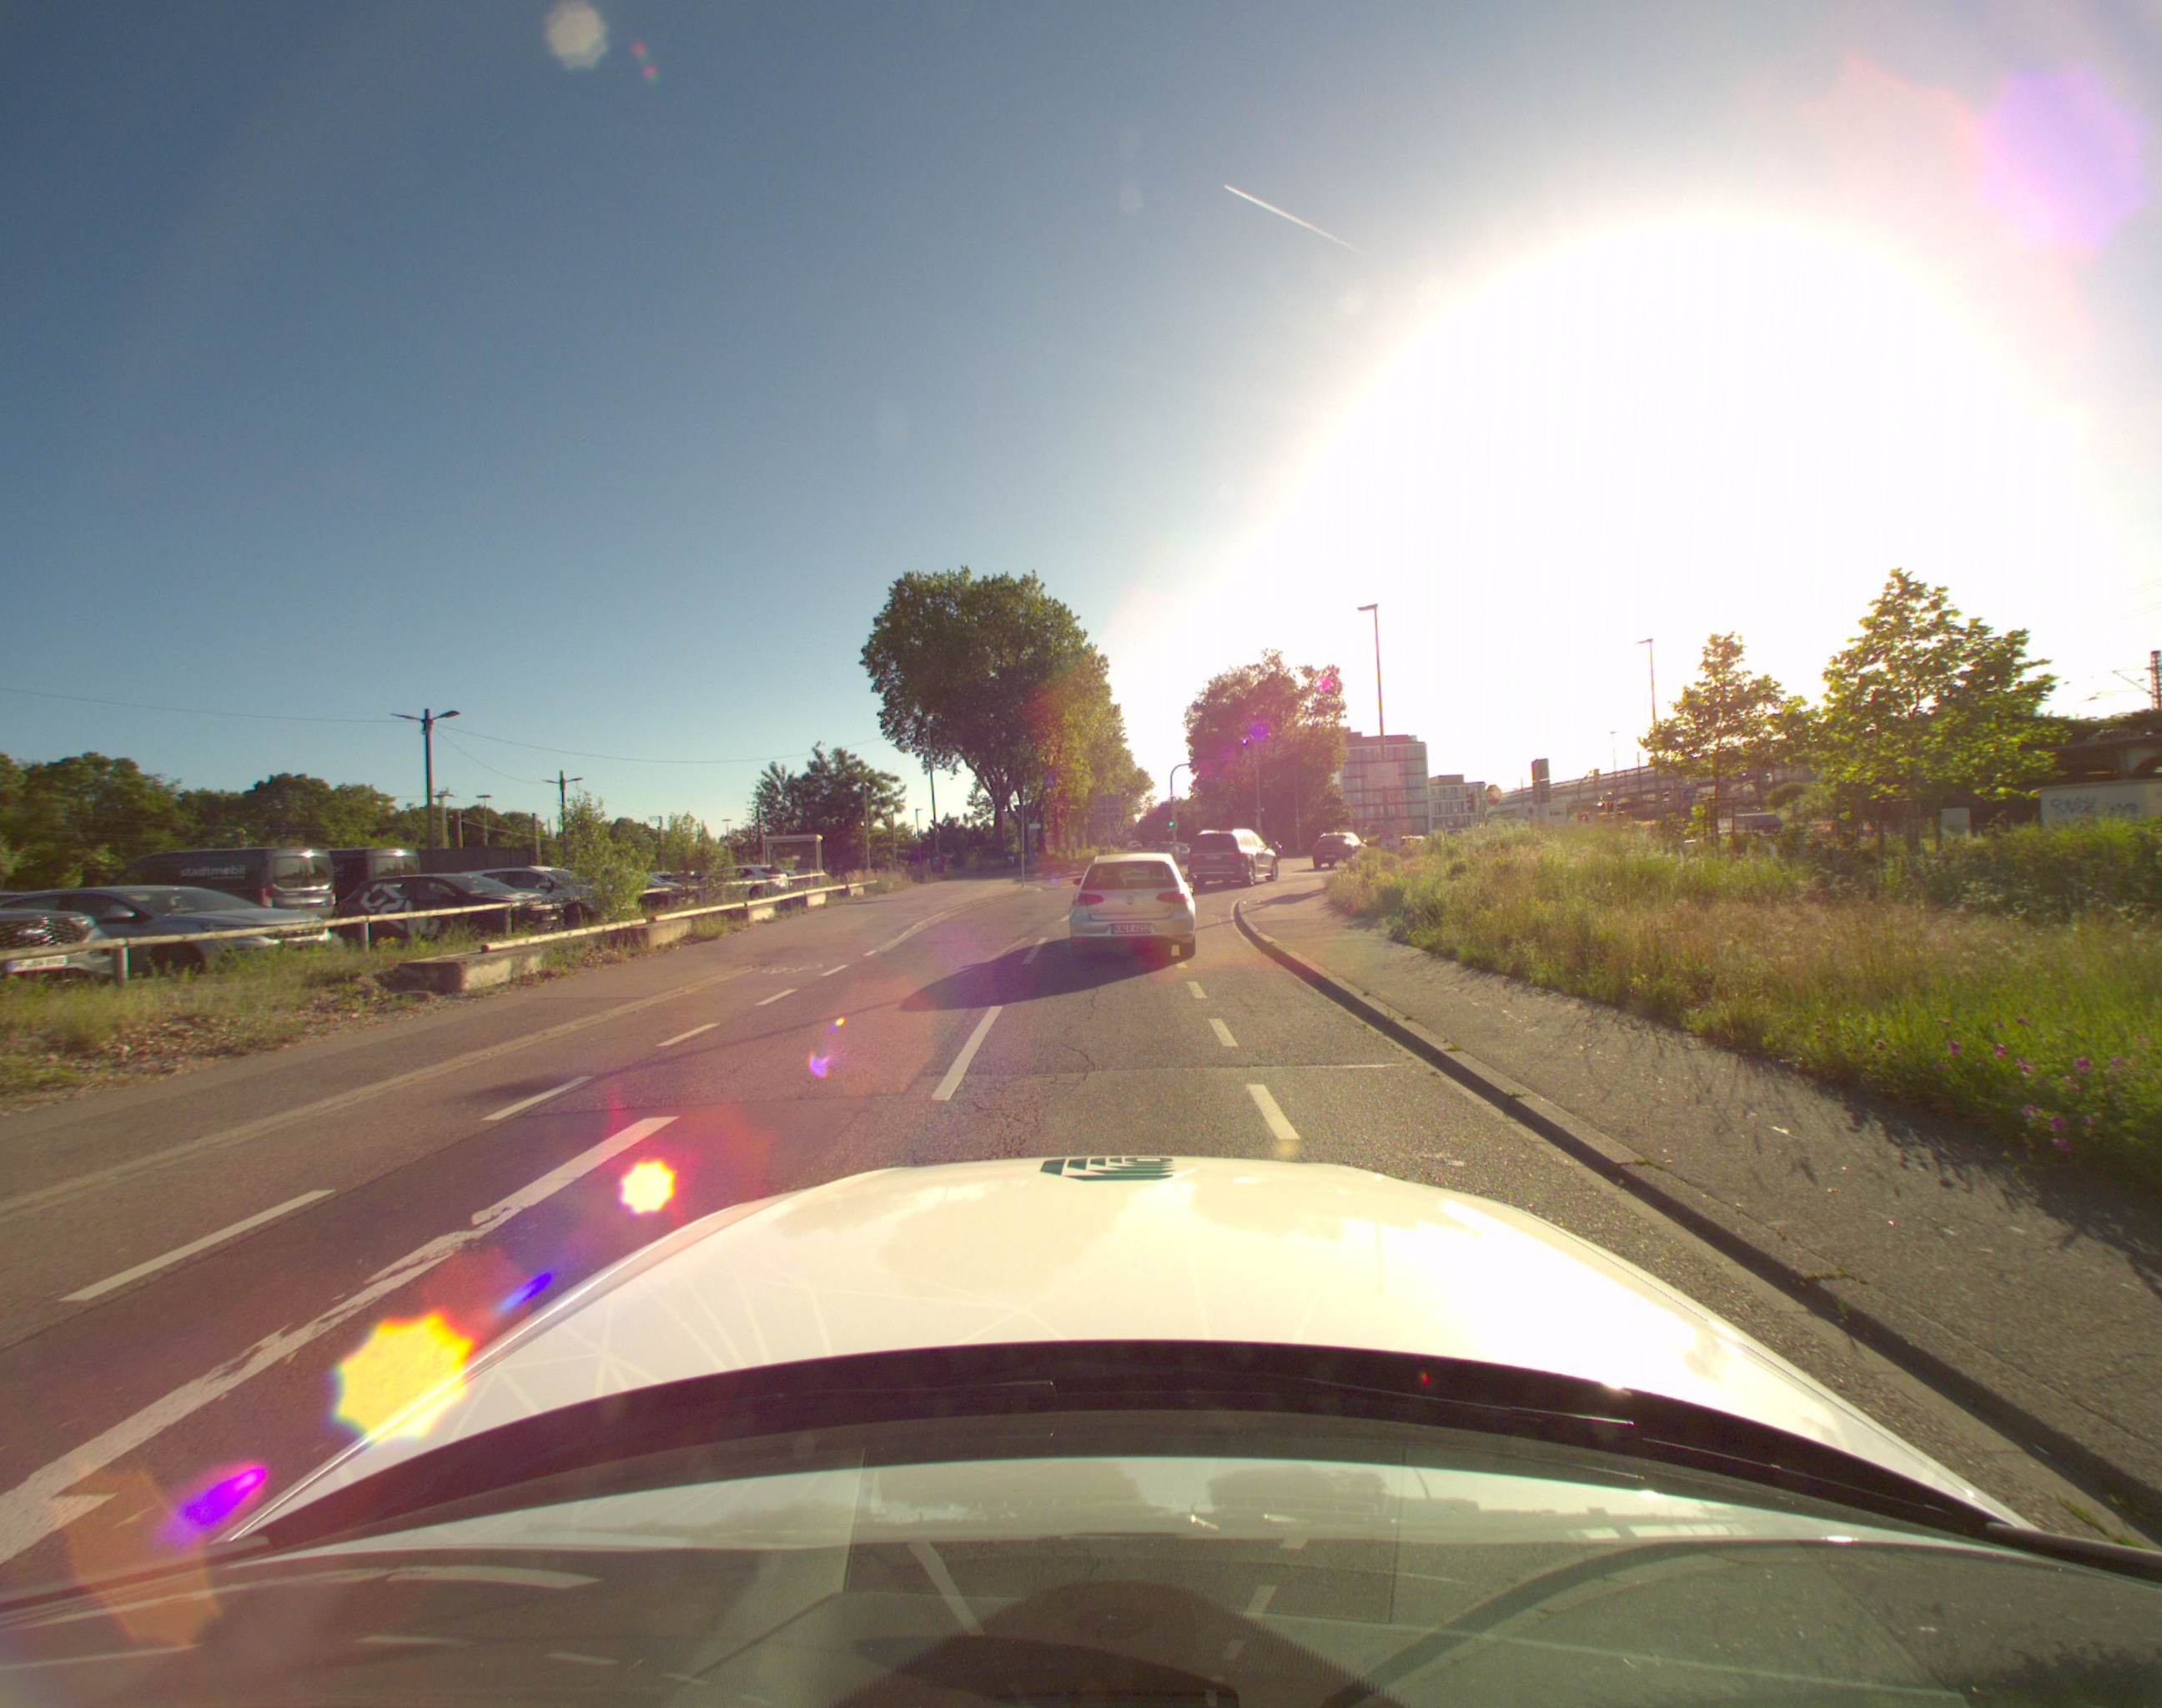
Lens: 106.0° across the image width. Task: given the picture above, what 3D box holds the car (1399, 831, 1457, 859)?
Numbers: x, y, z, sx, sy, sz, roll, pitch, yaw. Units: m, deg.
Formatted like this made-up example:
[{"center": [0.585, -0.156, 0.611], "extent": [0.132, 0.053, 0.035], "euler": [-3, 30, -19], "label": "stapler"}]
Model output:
[{"center": [21.057, -0.565, 49.350], "extent": [1.880, 1.596, 4.025], "euler": [-2, 0, 43], "label": "car"}]

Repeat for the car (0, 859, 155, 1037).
[{"center": [-13.665, 1.063, 8.852], "extent": [4.829, 1.835, 2.000], "euler": [-2, 0, 0], "label": "car"}]

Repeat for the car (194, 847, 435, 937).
[{"center": [-23.330, 1.109, 24.959], "extent": [5.079, 2.459, 2.320], "euler": [-2, 0, 0], "label": "car"}]

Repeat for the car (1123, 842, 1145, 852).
[{"center": [10.675, -1.402, 164.556], "extent": [3.949, 2.013, 2.012], "euler": [-2, 0, 42], "label": "car"}]

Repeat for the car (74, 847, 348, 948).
[{"center": [-23.627, 1.123, 22.292], "extent": [4.910, 2.459, 2.320], "euler": [-2, 0, 0], "label": "car"}]

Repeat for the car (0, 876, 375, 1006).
[{"center": [-13.454, 1.205, 11.827], "extent": [4.579, 1.557, 2.000], "euler": [-2, 0, 0], "label": "car"}]

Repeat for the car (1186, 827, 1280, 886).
[{"center": [5.197, 0.046, 27.327], "extent": [1.802, 1.768, 4.657], "euler": [-2, 0, 27], "label": "car"}]

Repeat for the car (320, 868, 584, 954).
[{"center": [-13.164, 1.158, 17.243], "extent": [4.074, 1.557, 1.878], "euler": [-2, 0, 0], "label": "car"}]

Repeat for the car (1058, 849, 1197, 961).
[{"center": [0.885, 0.672, 12.719], "extent": [1.780, 1.420, 4.009], "euler": [-2, 0, 8], "label": "car"}]

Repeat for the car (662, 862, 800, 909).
[{"center": [-13.396, 1.188, 31.351], "extent": [4.410, 1.557, 1.878], "euler": [-2, 0, 0], "label": "car"}]

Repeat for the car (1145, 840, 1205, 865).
[{"center": [6.518, -0.108, 56.978], "extent": [2.009, 1.596, 3.956], "euler": [-2, 0, -36], "label": "car"}]

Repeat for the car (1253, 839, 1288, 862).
[{"center": [15.285, -0.270, 65.937], "extent": [1.986, 1.728, 4.002], "euler": [-2, -1, 2], "label": "car"}]

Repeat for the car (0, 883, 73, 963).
[{"center": [-24.612, 1.529, 17.225], "extent": [4.193, 1.618, 1.878], "euler": [-2, 0, 0], "label": "car"}]

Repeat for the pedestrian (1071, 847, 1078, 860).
[{"center": [-0.724, -0.055, 86.224], "extent": [0.676, 1.415, 0.685], "euler": [-2, 0, 2], "label": "pedestrian"}]

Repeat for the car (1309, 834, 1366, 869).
[{"center": [12.378, -0.163, 39.119], "extent": [1.896, 1.529, 4.434], "euler": [-2, 0, 27], "label": "car"}]

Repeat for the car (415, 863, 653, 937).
[{"center": [-13.340, 1.085, 20.053], "extent": [4.527, 1.557, 1.878], "euler": [-2, 0, 0], "label": "car"}]

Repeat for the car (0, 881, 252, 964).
[{"center": [-23.717, 1.632, 19.757], "extent": [4.910, 1.705, 2.167], "euler": [-2, 0, 0], "label": "car"}]

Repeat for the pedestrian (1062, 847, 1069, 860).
[{"center": [-1.653, -0.044, 86.391], "extent": [0.676, 1.415, 0.685], "euler": [-2, 0, 2], "label": "pedestrian"}]
